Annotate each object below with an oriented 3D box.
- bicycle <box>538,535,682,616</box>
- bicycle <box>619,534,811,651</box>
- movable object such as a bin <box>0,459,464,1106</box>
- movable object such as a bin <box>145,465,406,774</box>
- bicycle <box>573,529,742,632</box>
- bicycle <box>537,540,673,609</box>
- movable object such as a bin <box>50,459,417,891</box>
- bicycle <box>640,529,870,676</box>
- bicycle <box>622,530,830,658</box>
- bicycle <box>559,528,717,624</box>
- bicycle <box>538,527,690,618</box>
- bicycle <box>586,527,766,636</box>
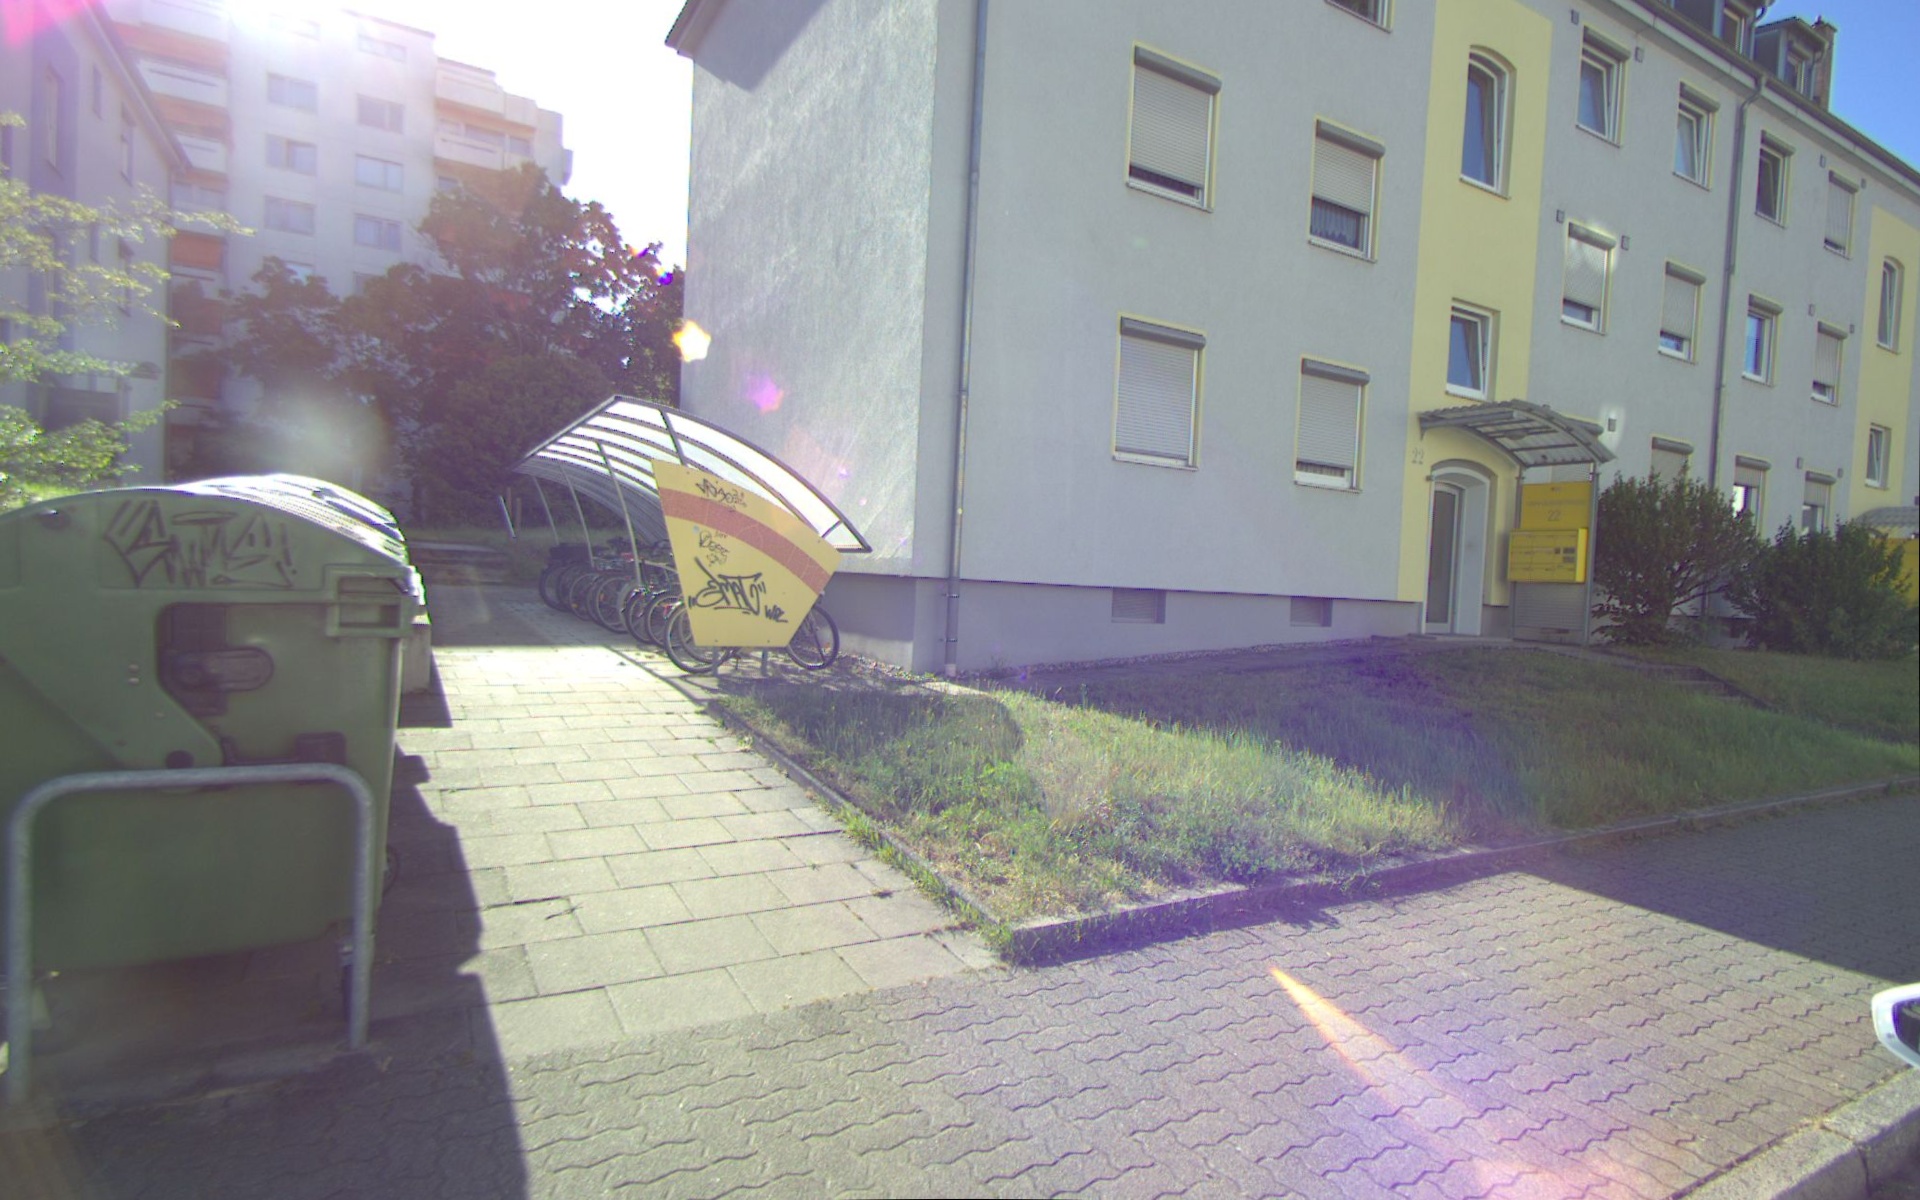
[{"bbox_3d":[-5.388,-0.374,15.503,1.986,1.146,0.637,2,3,-30],"label":"bicycle"},{"bbox_3d":[-2.772,-0.070,11.448,1.986,1.235,0.674,2,3,-30],"label":"bicycle"},{"bbox_3d":[-2.204,0.376,3.005,1.184,1.479,1.309,2,5,-30],"label":"movable object such as a bin"},{"bbox_3d":[-3.727,0.038,5.613,1.060,1.473,1.353,2,6,-30],"label":"movable object such as a bin"},{"bbox_3d":[-3.928,-0.237,13.080,1.986,1.235,0.637,2,3,-30],"label":"bicycle"},{"bbox_3d":[-5.778,-0.406,16.402,1.986,1.020,0.637,2,3,-30],"label":"bicycle"},{"bbox_3d":[-2.939,0.203,4.251,1.070,1.479,1.348,2,6,-30],"label":"movable object such as a bin"},{"bbox_3d":[-1.900,0.031,9.432,1.986,1.267,0.637,2,3,-30],"label":"bicycle"},{"bbox_3d":[-2.419,-0.047,10.472,1.986,1.235,0.637,2,3,-30],"label":"bicycle"},{"bbox_3d":[-4.476,-0.323,14.005,1.986,1.235,0.637,2,3,-30],"label":"bicycle"},{"bbox_3d":[-5.042,-0.389,14.666,1.986,1.235,0.637,2,3,-30],"label":"bicycle"},{"bbox_3d":[-3.447,-0.211,12.240,1.986,1.235,0.637,2,3,-30],"label":"bicycle"}]
